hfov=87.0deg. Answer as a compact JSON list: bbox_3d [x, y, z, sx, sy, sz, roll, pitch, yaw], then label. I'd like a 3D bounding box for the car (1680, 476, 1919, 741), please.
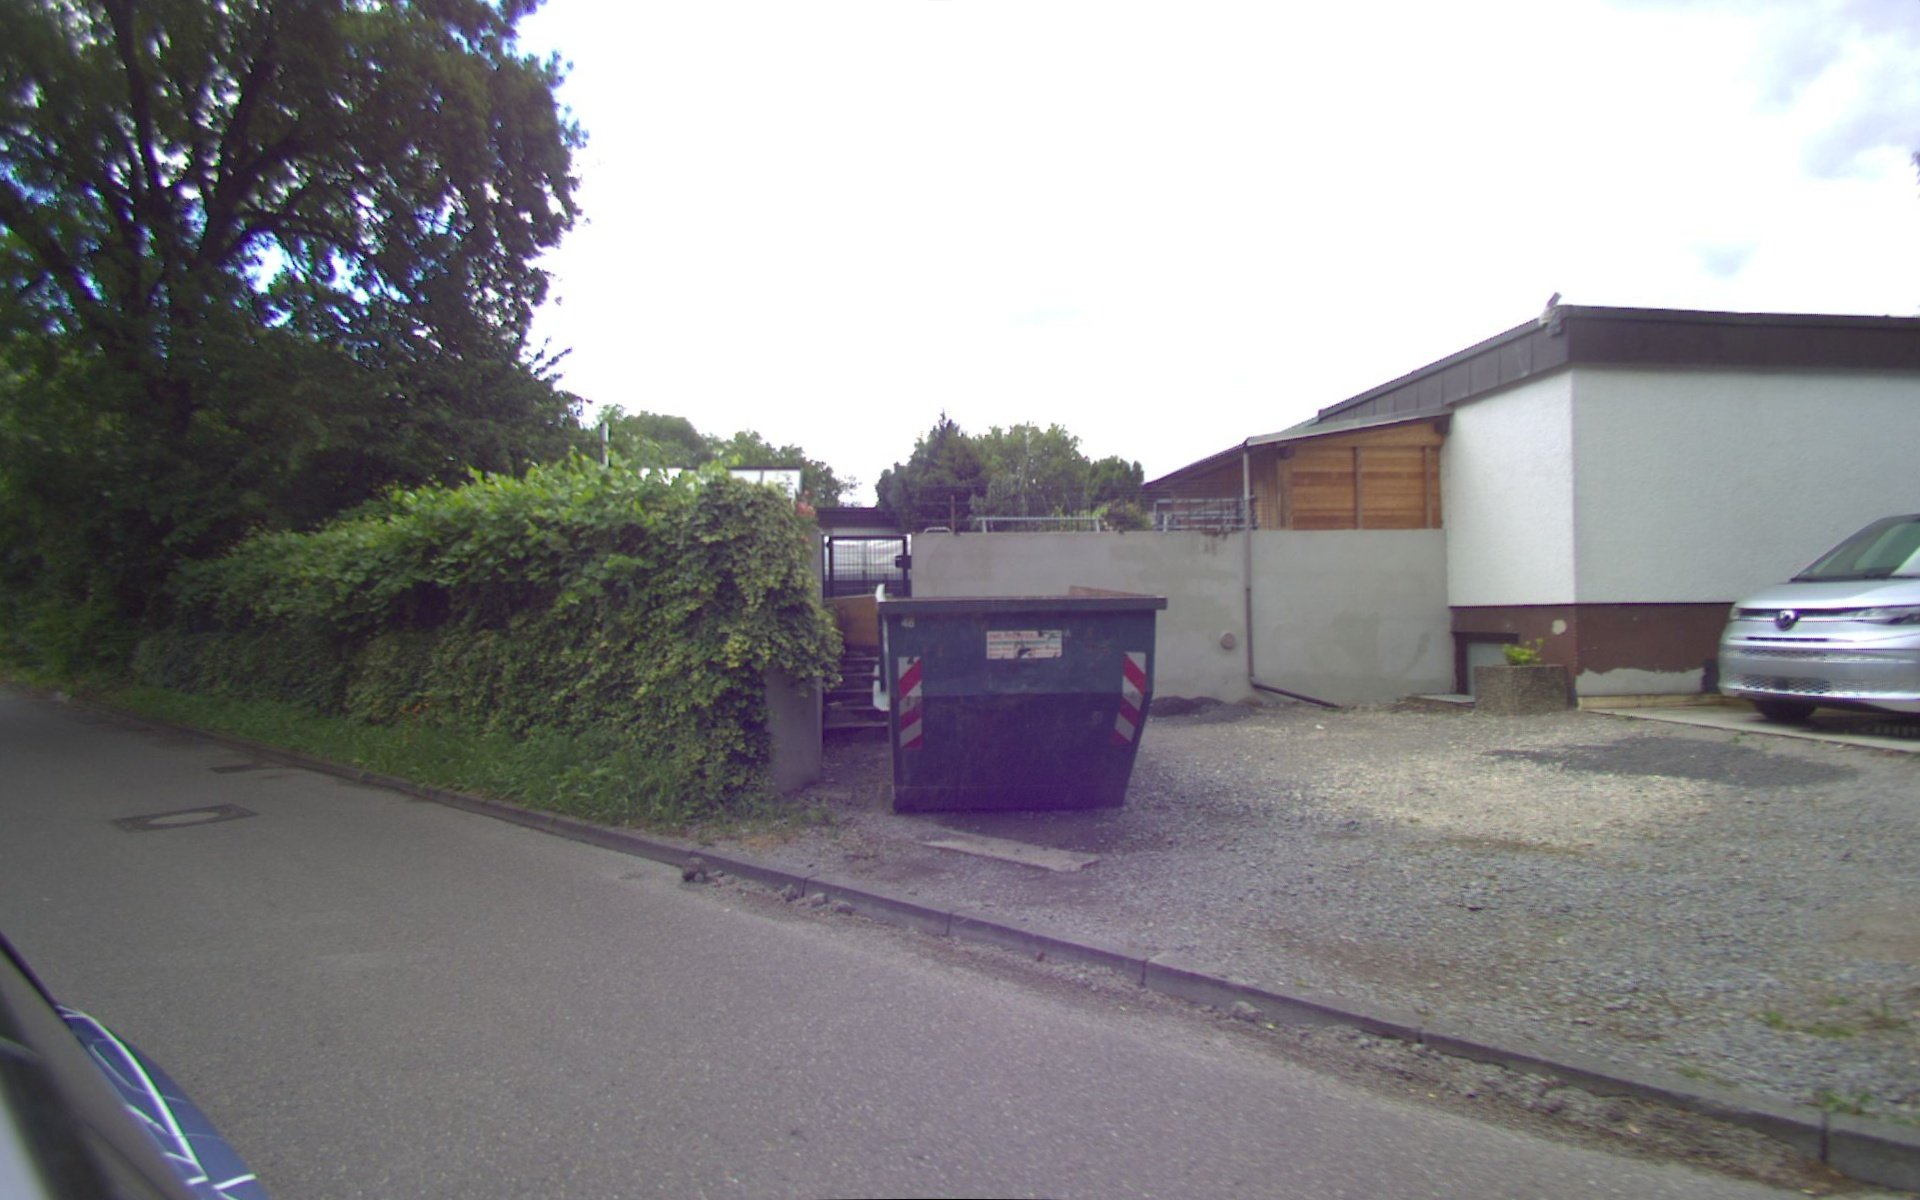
[{"bbox_3d":[8.855,-0.022,8.149,4.850,1.819,2.034,-2,0,-8],"label":"car"}]
